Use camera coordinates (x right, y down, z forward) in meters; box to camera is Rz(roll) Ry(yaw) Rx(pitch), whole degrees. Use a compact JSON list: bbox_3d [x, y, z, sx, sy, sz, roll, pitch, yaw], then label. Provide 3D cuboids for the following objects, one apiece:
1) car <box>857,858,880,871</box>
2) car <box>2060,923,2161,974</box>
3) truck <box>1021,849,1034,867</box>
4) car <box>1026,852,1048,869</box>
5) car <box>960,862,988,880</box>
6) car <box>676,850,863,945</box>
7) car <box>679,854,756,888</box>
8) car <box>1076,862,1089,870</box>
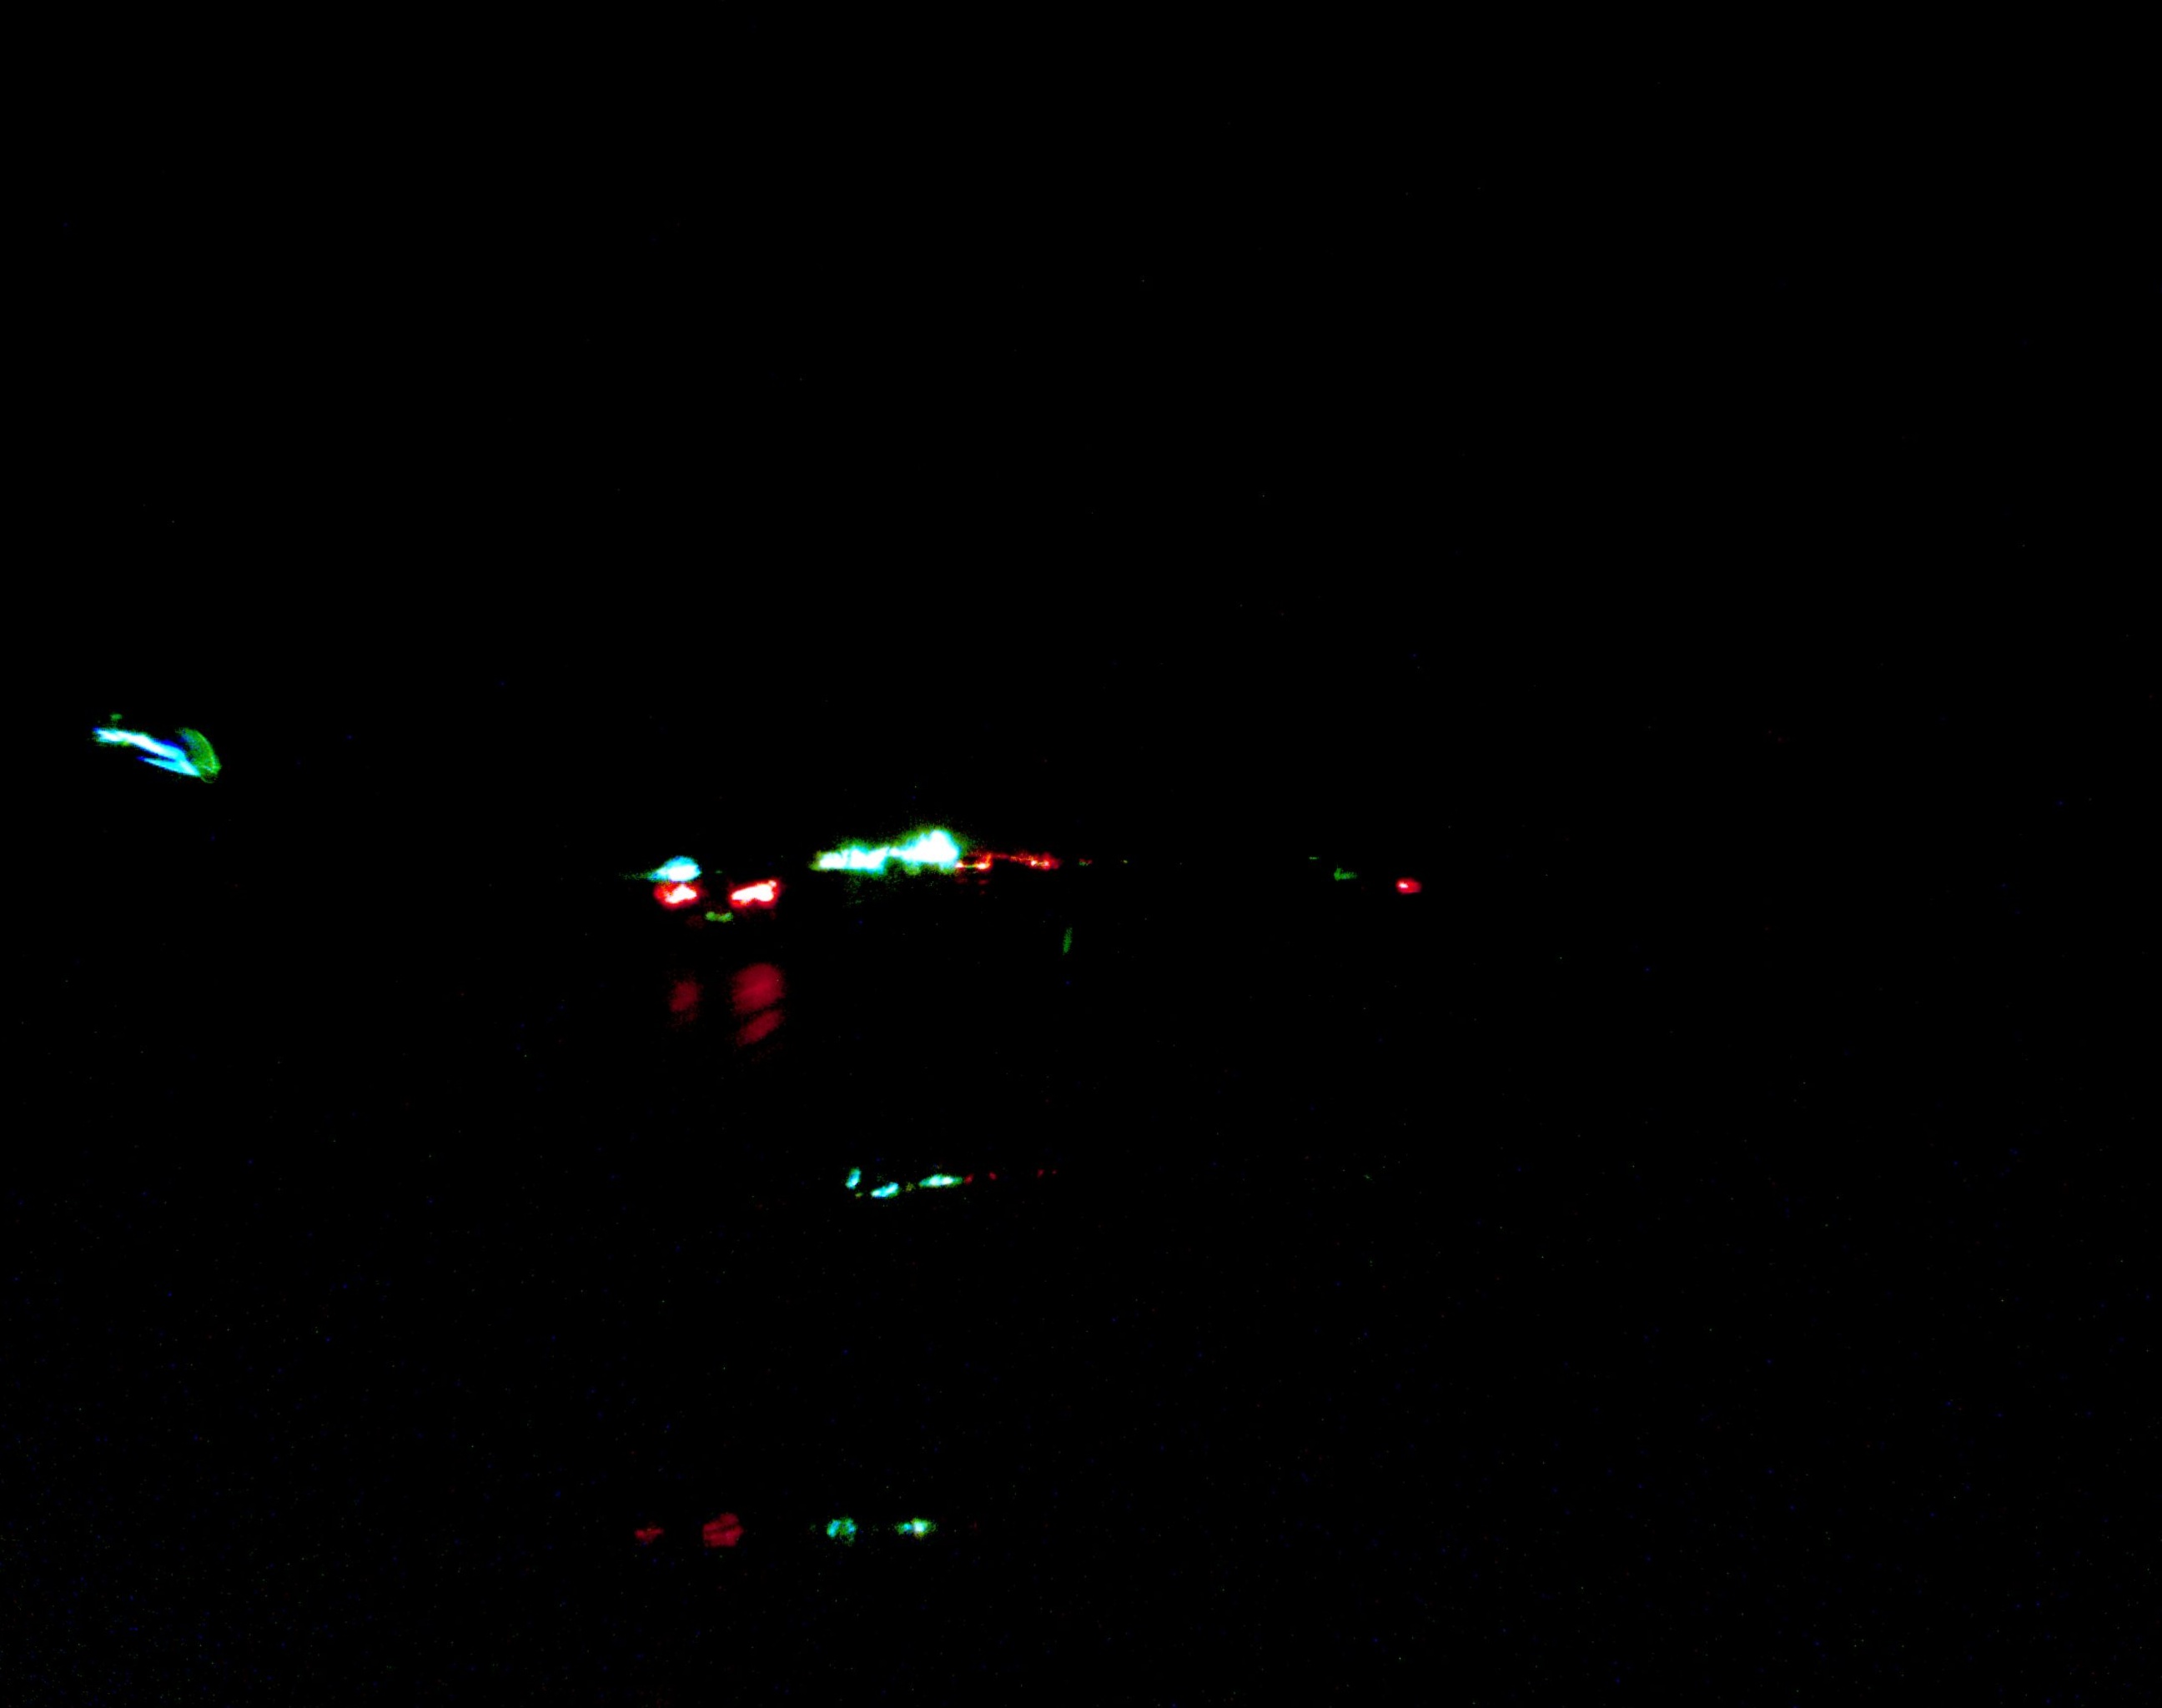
[{"bbox_3d":[-21.551,1.039,82.637,1.401,1.266,4.067,0,0,-3],"label":"car"},{"bbox_3d":[33.745,3.001,25.270,1.713,1.294,3.964,0,1,-20],"label":"car"},{"bbox_3d":[-10.017,0.774,151.339,1.992,3.043,6.448,0,-2,-7],"label":"truck"},{"bbox_3d":[-4.021,0.633,74.891,1.796,1.487,4.000,-1,0,1],"label":"car"},{"bbox_3d":[-7.360,1.179,56.263,1.659,1.236,3.755,0,-2,-4],"label":"car"},{"bbox_3d":[-5.973,0.773,16.326,1.852,1.541,4.749,3,-1,0],"label":"car"},{"bbox_3d":[-18.449,0.821,41.600,1.766,1.632,4.702,0,0,0],"label":"car"},{"bbox_3d":[0.276,2.026,135.974,1.582,1.246,3.055,3,-2,-12],"label":"car"}]
